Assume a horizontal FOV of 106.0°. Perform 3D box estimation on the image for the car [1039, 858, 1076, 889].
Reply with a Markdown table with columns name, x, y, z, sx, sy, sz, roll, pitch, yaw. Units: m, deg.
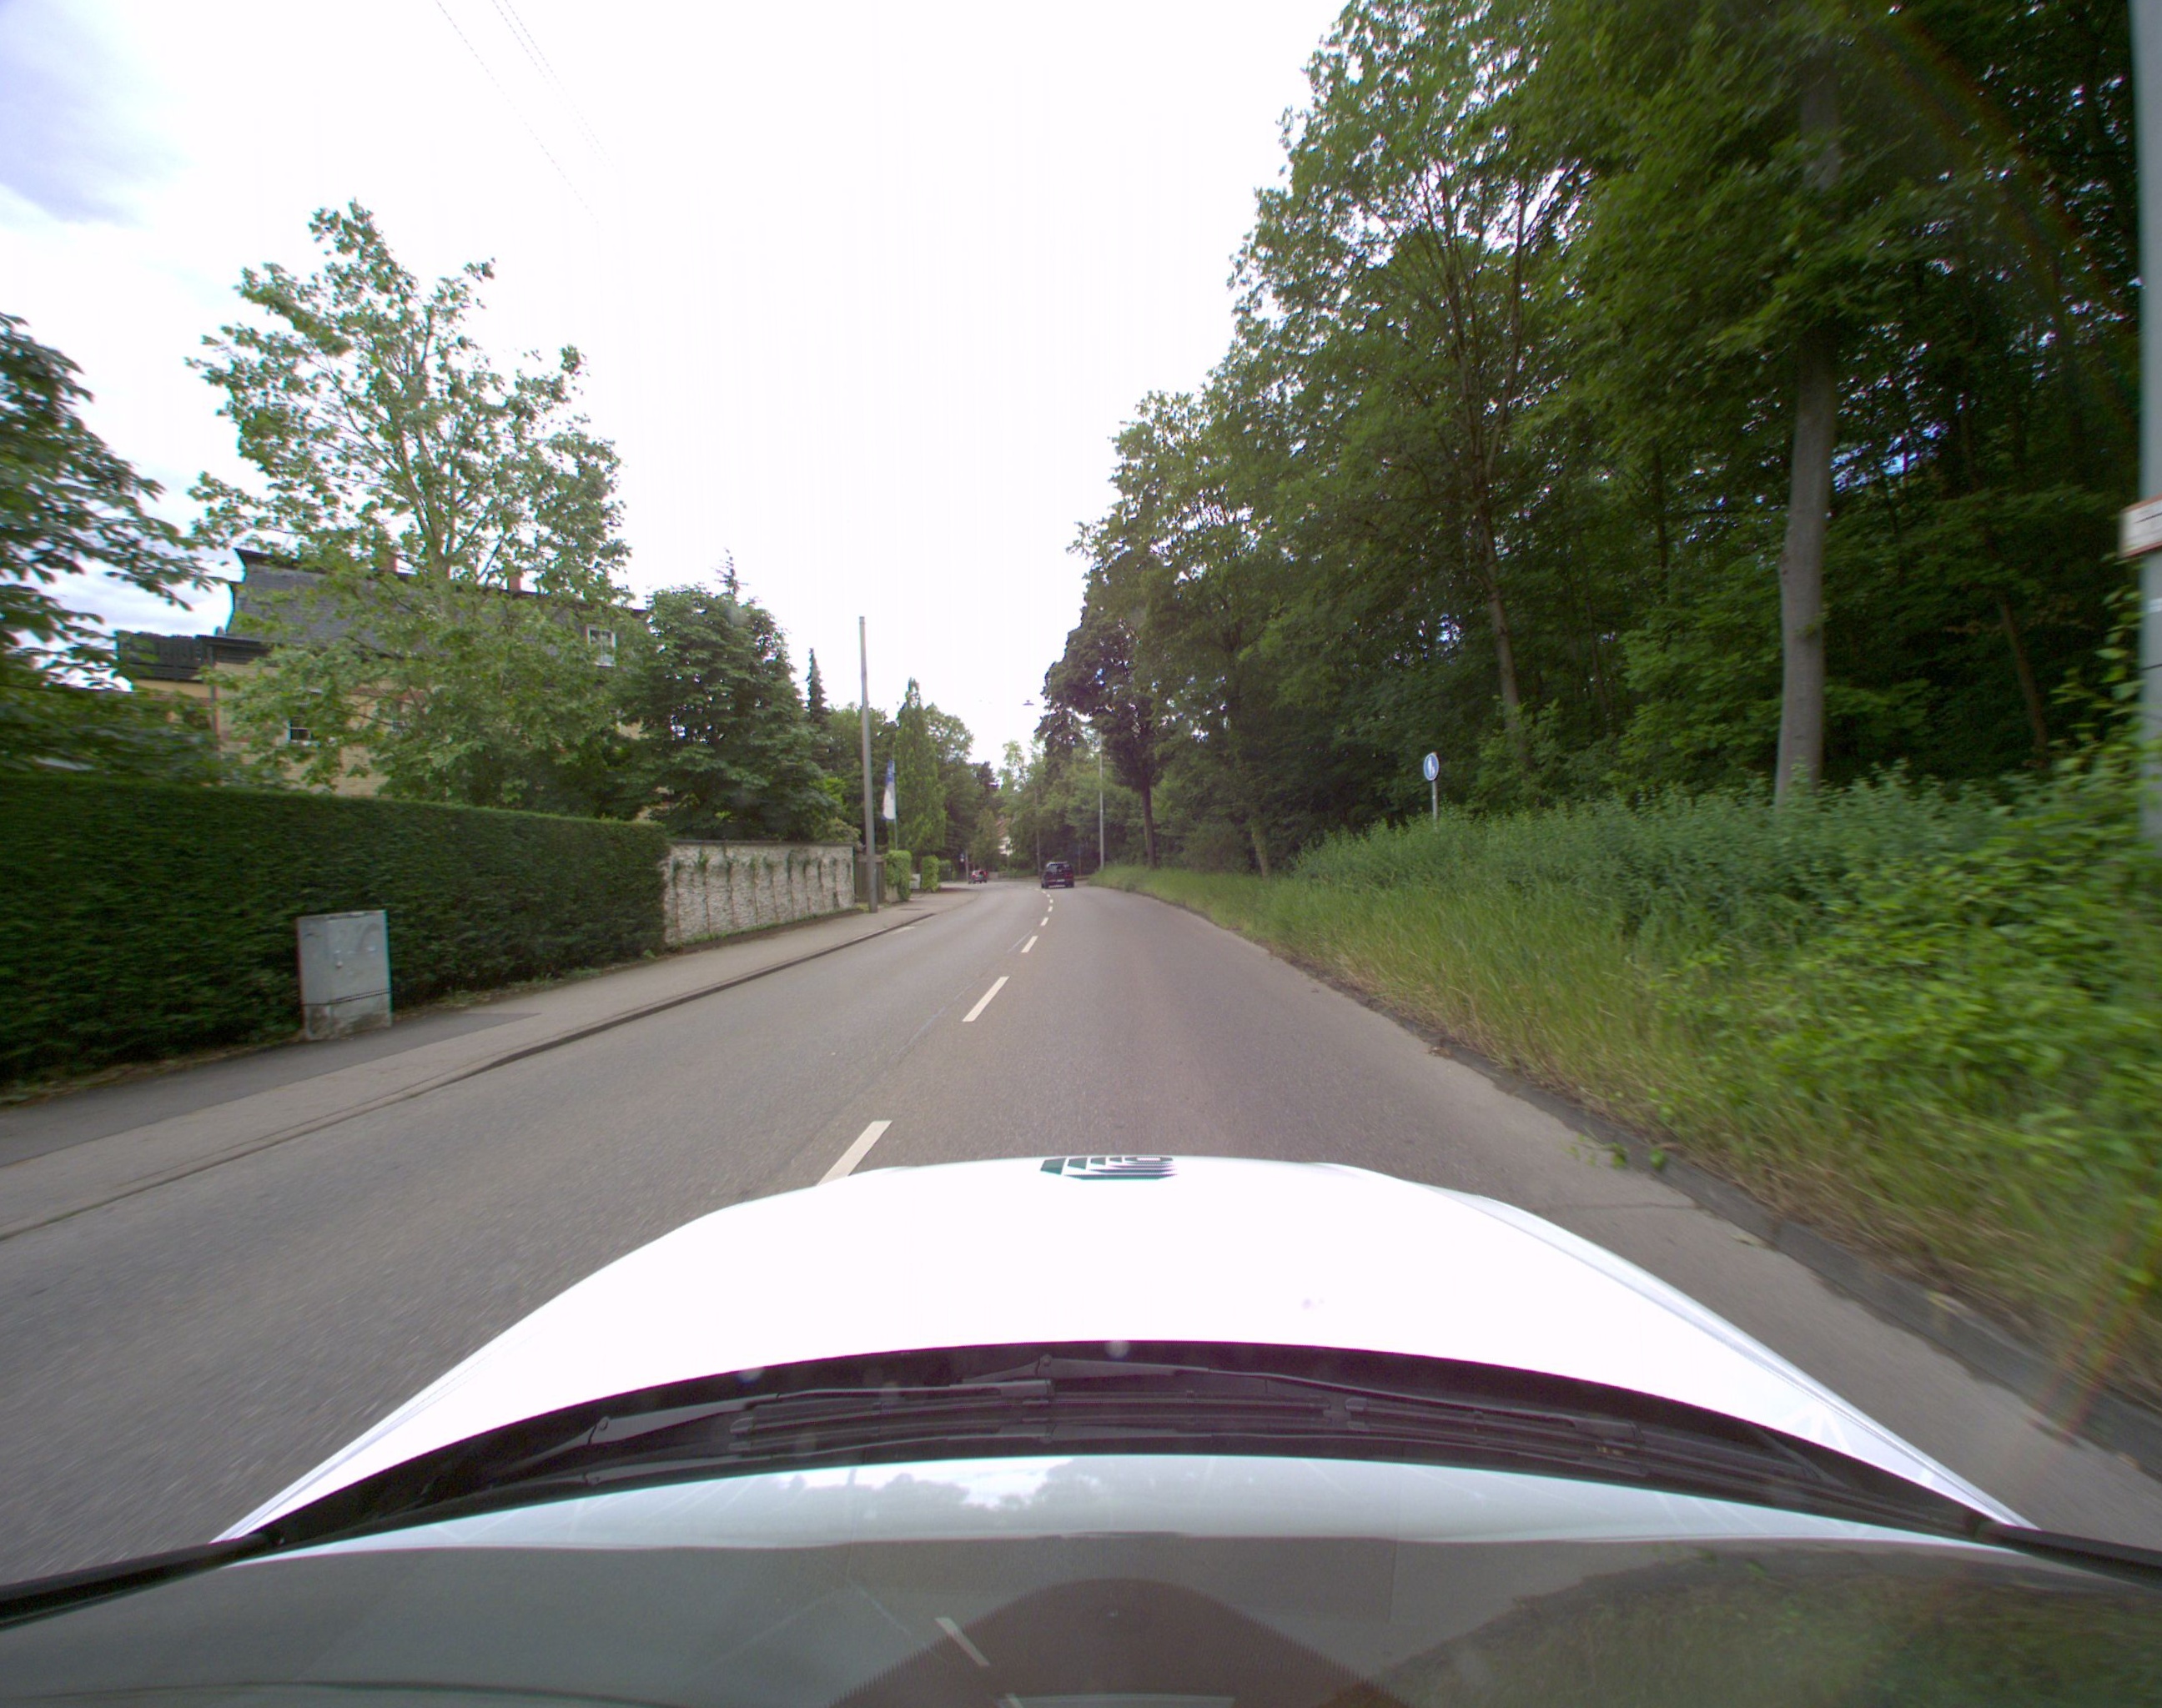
| name | x | y | z | sx | sy | sz | roll | pitch | yaw |
| --- | --- | --- | --- | --- | --- | --- | --- | --- | --- |
| car | -1.614 | 1.244 | 53.496 | 1.992 | 1.882 | 3.990 | -2 | 0 | -7 |

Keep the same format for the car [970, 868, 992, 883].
| name | x | y | z | sx | sy | sz | roll | pitch | yaw |
| --- | --- | --- | --- | --- | --- | --- | --- | --- | --- |
| car | -11.832 | 2.524 | 95.999 | 1.998 | 1.618 | 3.978 | -2 | 0 | -16 |

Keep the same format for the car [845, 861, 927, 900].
| name | x | y | z | sx | sy | sz | roll | pitch | yaw |
| --- | --- | --- | --- | --- | --- | --- | --- | --- | --- |
| car | -11.445 | 1.570 | 47.610 | 2.439 | 2.073 | 5.297 | -2 | -1 | -41 |
